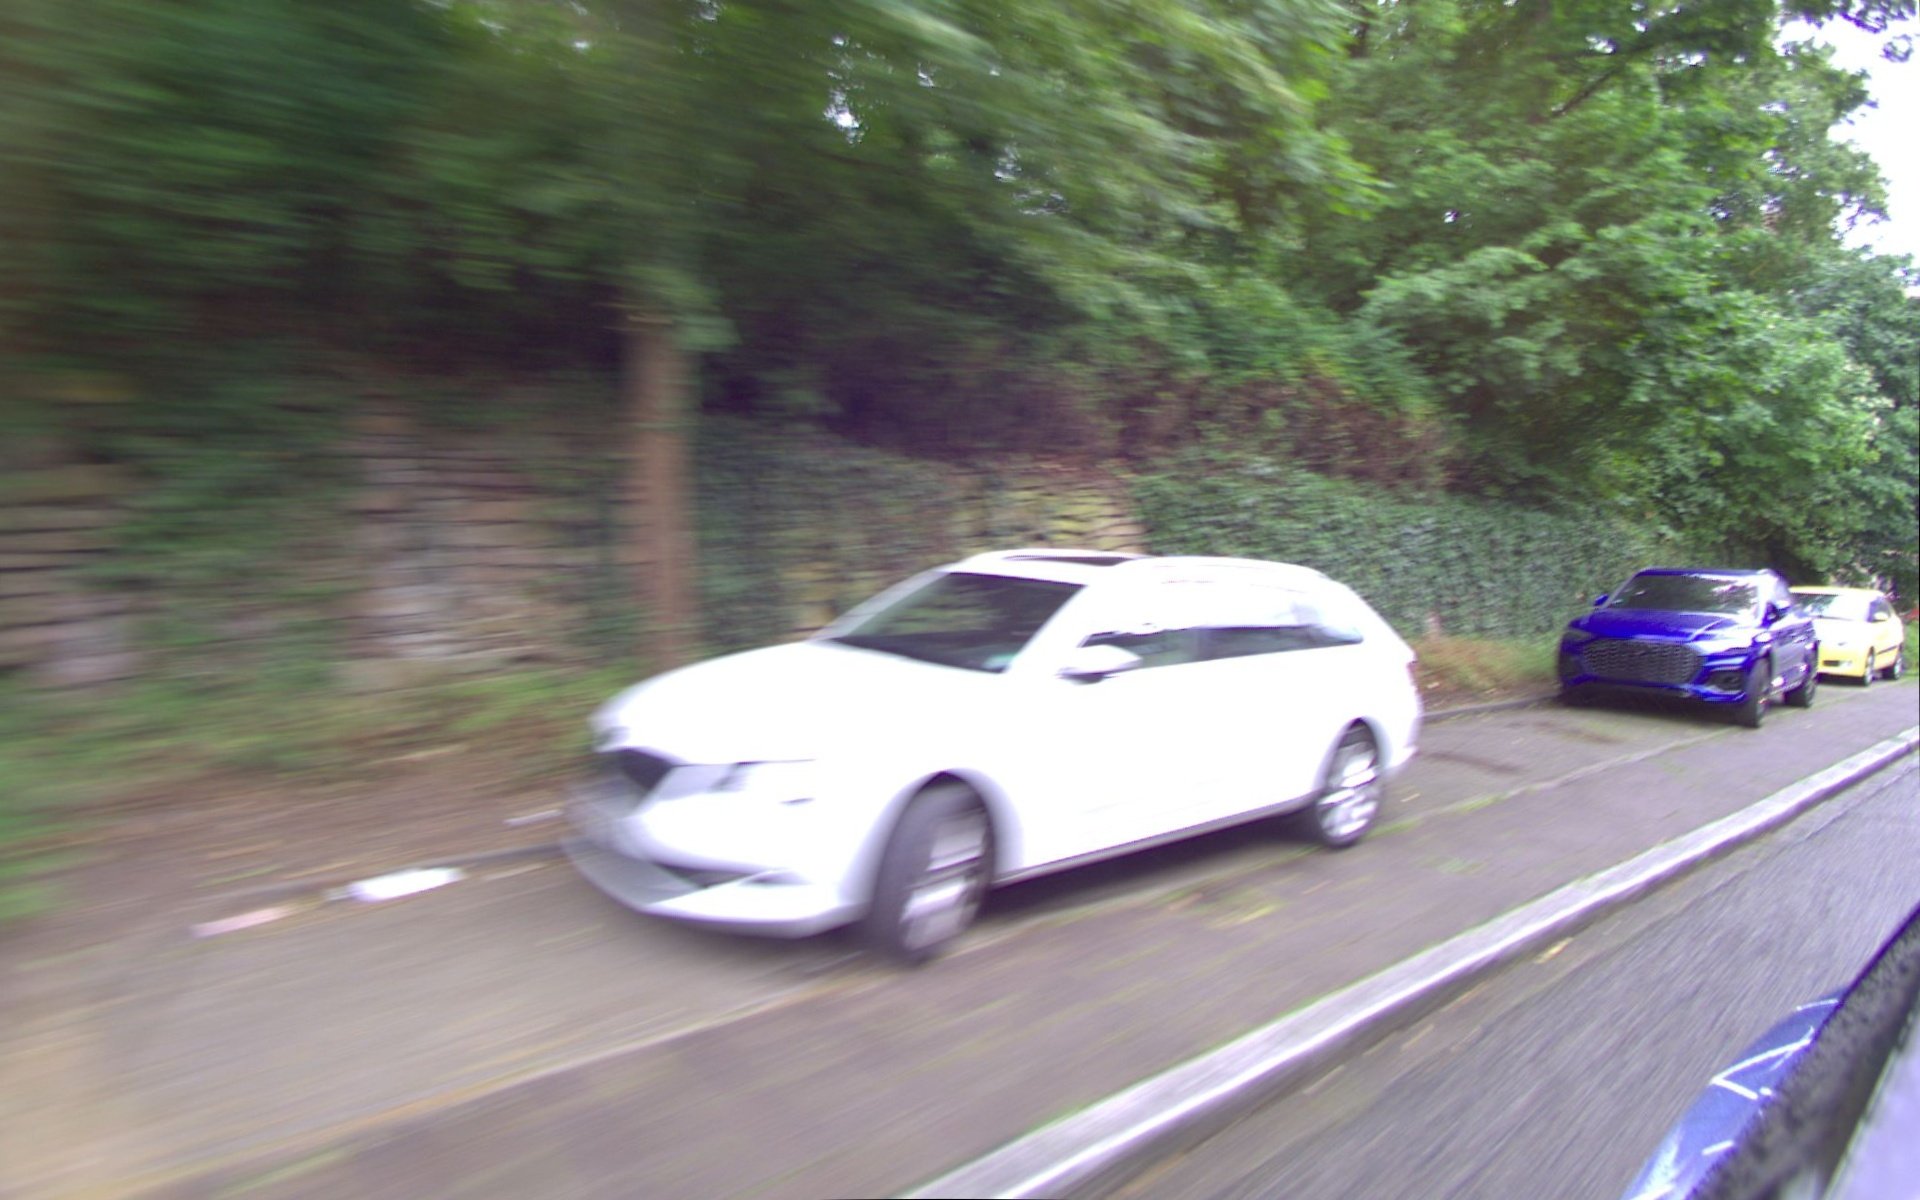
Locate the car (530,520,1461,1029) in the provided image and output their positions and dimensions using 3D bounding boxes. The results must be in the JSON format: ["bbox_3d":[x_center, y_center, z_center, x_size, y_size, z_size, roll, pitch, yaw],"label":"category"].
[{"bbox_3d":[0.521,0.457,5.108,4.654,1.495,1.744,0,4,-39],"label":"car"}]

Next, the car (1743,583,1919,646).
[{"bbox_3d":[24.586,0.356,28.115,1.771,1.614,4.193,0,1,-39],"label":"car"}]

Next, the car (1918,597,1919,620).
[{"bbox_3d":[42.170,0.214,41.310,1.771,1.592,4.196,0,5,-39],"label":"car"}]

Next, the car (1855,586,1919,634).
[{"bbox_3d":[31.297,0.376,32.034,1.771,1.433,4.194,0,3,-39],"label":"car"}]

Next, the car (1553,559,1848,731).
[{"bbox_3d":[8.818,0.370,11.891,4.597,1.643,1.768,-1,3,-41],"label":"car"}]

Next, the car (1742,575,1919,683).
[{"bbox_3d":[14.342,0.399,16.537,3.828,1.485,1.568,0,4,-39],"label":"car"}]
